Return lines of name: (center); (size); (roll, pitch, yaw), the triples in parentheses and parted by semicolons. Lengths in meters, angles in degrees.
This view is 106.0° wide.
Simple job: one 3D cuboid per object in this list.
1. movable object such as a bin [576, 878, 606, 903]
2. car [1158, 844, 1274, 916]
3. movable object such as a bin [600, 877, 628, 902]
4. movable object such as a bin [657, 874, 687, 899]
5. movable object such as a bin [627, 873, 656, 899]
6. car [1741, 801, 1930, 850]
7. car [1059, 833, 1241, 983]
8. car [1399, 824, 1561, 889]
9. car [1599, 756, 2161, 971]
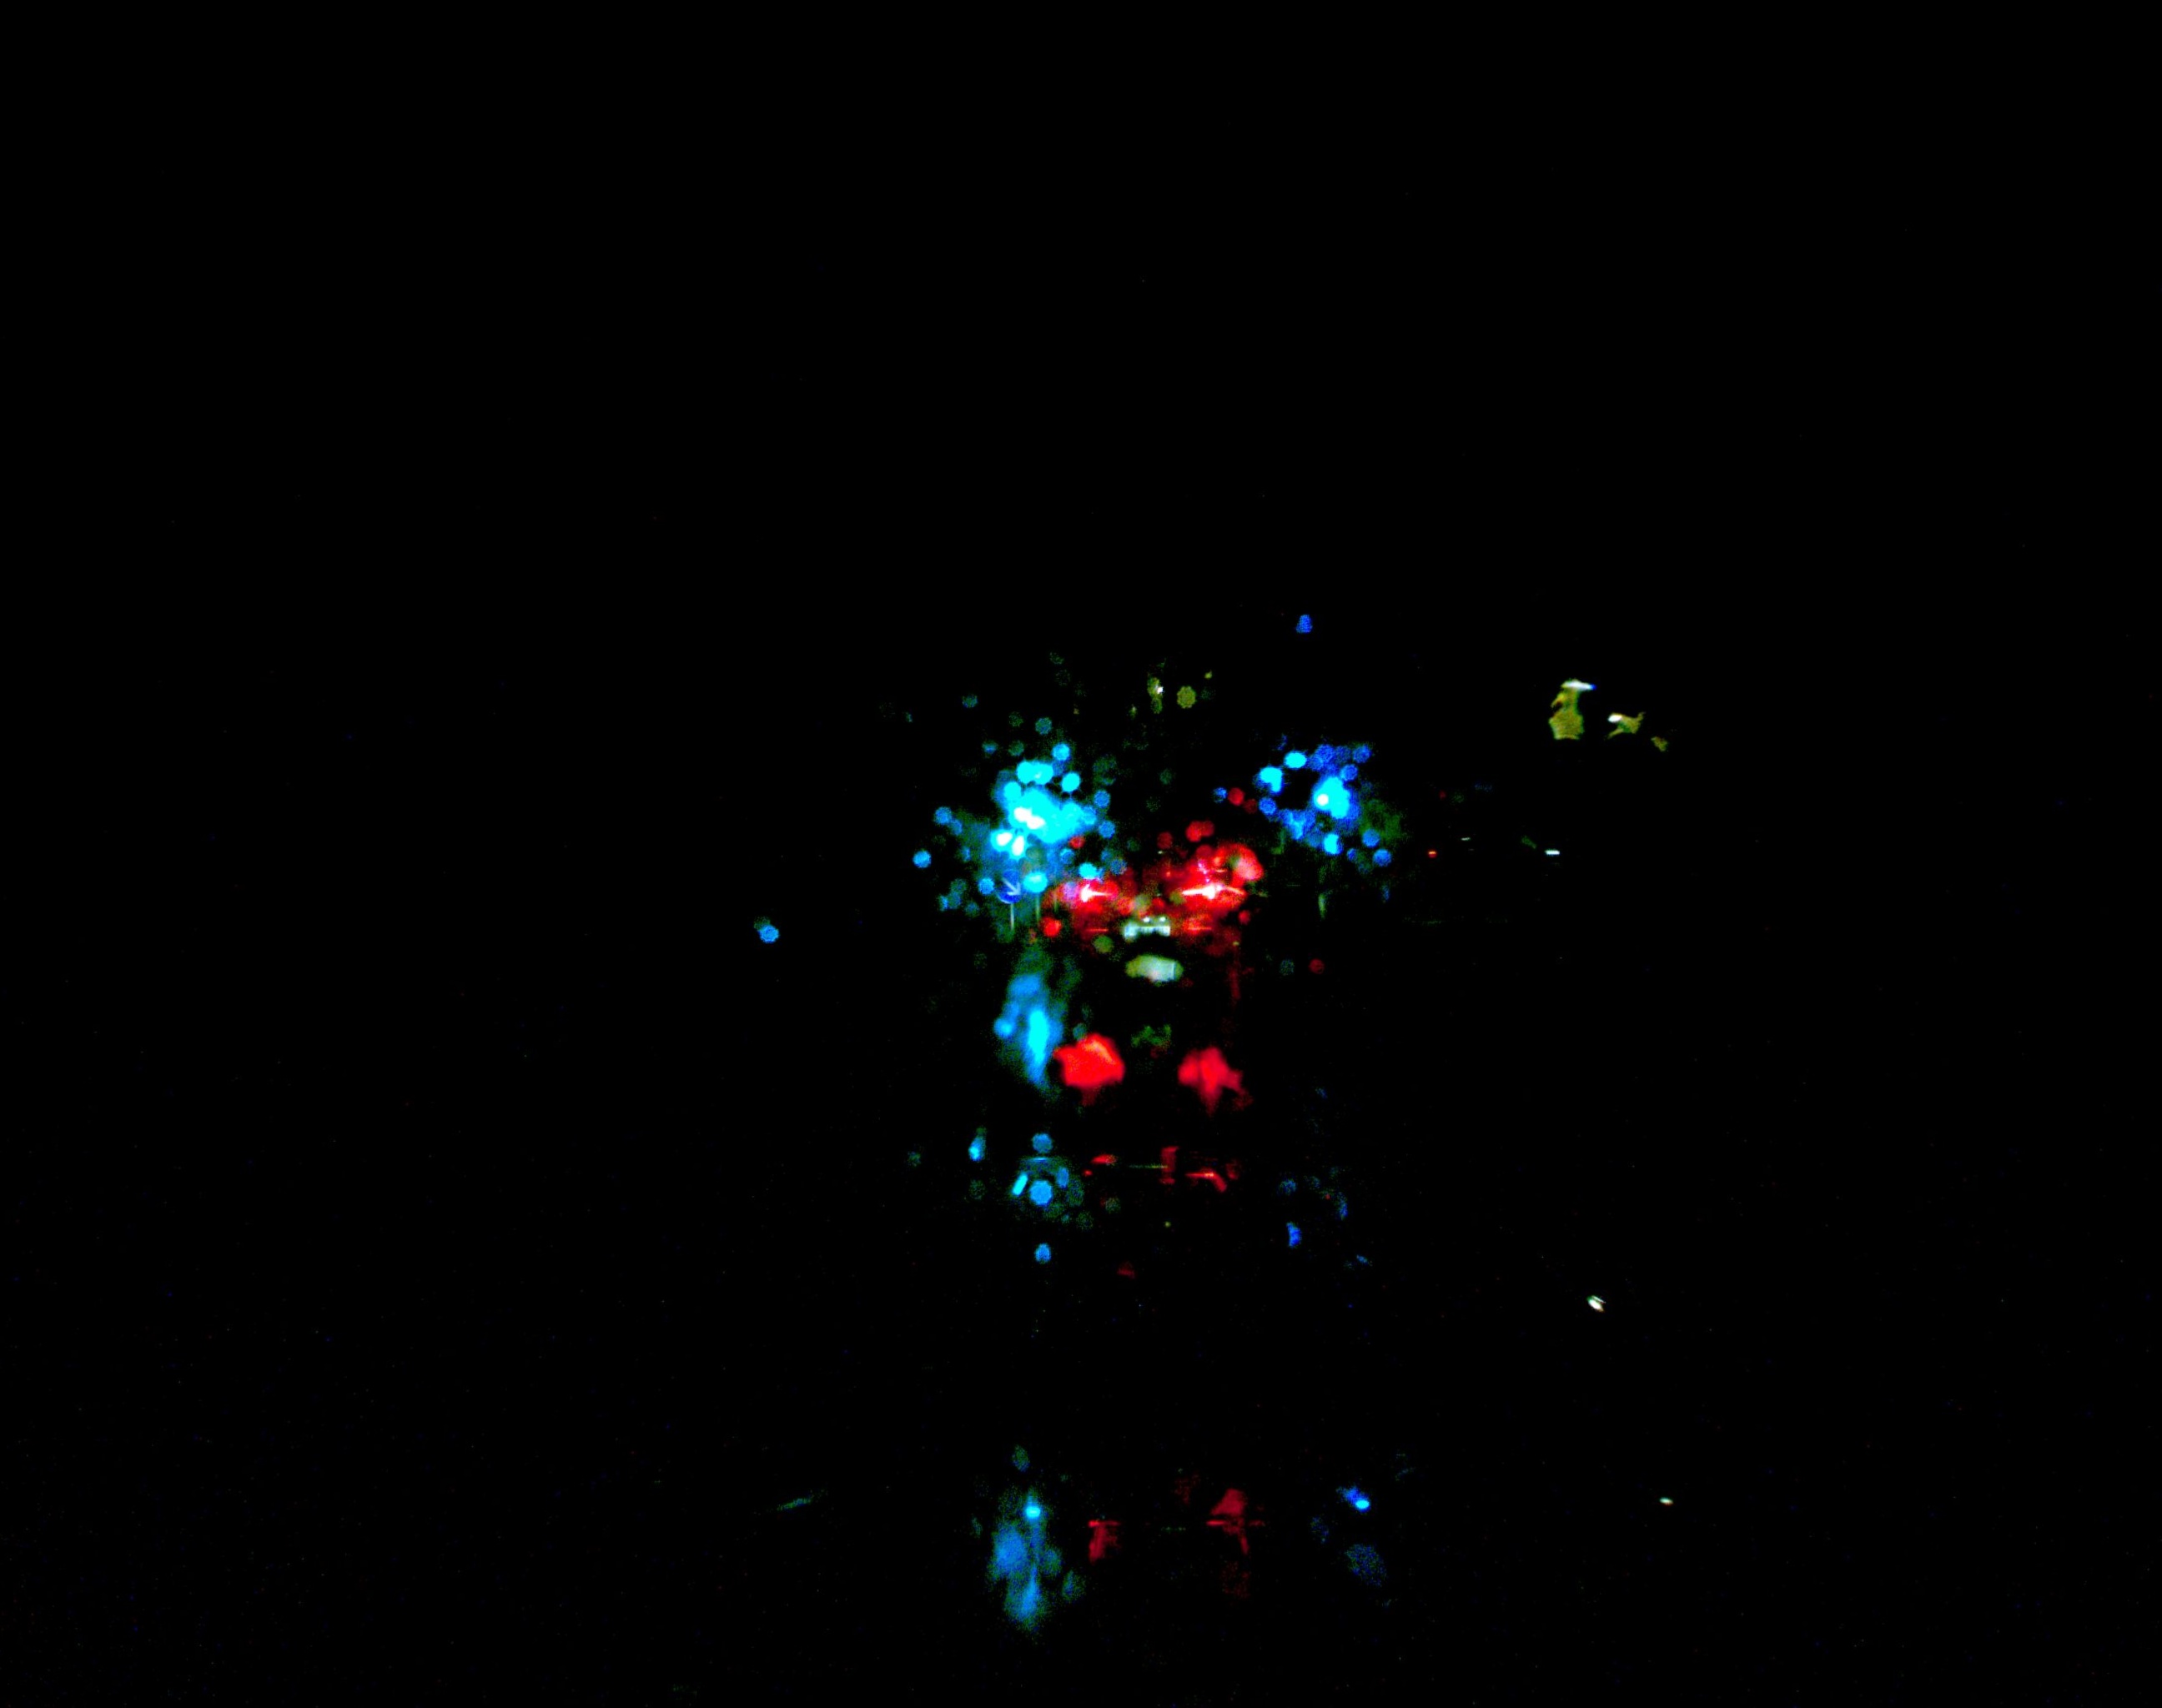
movable object such as a bin: (-28.043, 2.078, 46.607); (1.325, 1.309, 1.166); (-2, 1, -27)
car: (3.509, 0.582, 20.527); (1.893, 1.510, 4.265); (-1, 1, 23)
movable object such as a bin: (-26.765, 2.046, 46.714); (1.234, 1.325, 1.144); (-2, 1, -24)
movable object such as a bin: (-24.043, 1.937, 47.887); (1.318, 1.300, 1.242); (3, -9, -20)
movable object such as a bin: (-25.547, 1.841, 47.355); (1.393, 1.413, 1.241); (-1, -1, -23)
car: (24.798, -0.898, 26.936); (4.165, 1.517, 1.987); (0, -1, 11)
car: (1.017, 0.612, 11.309); (2.047, 1.678, 4.147); (0, 0, 7)
car: (12.441, 0.054, 25.595); (4.221, 1.947, 1.779); (0, 1, 4)
car: (7.788, 0.062, 7.678); (4.438, 1.586, 1.946); (-4, 1, 11)
